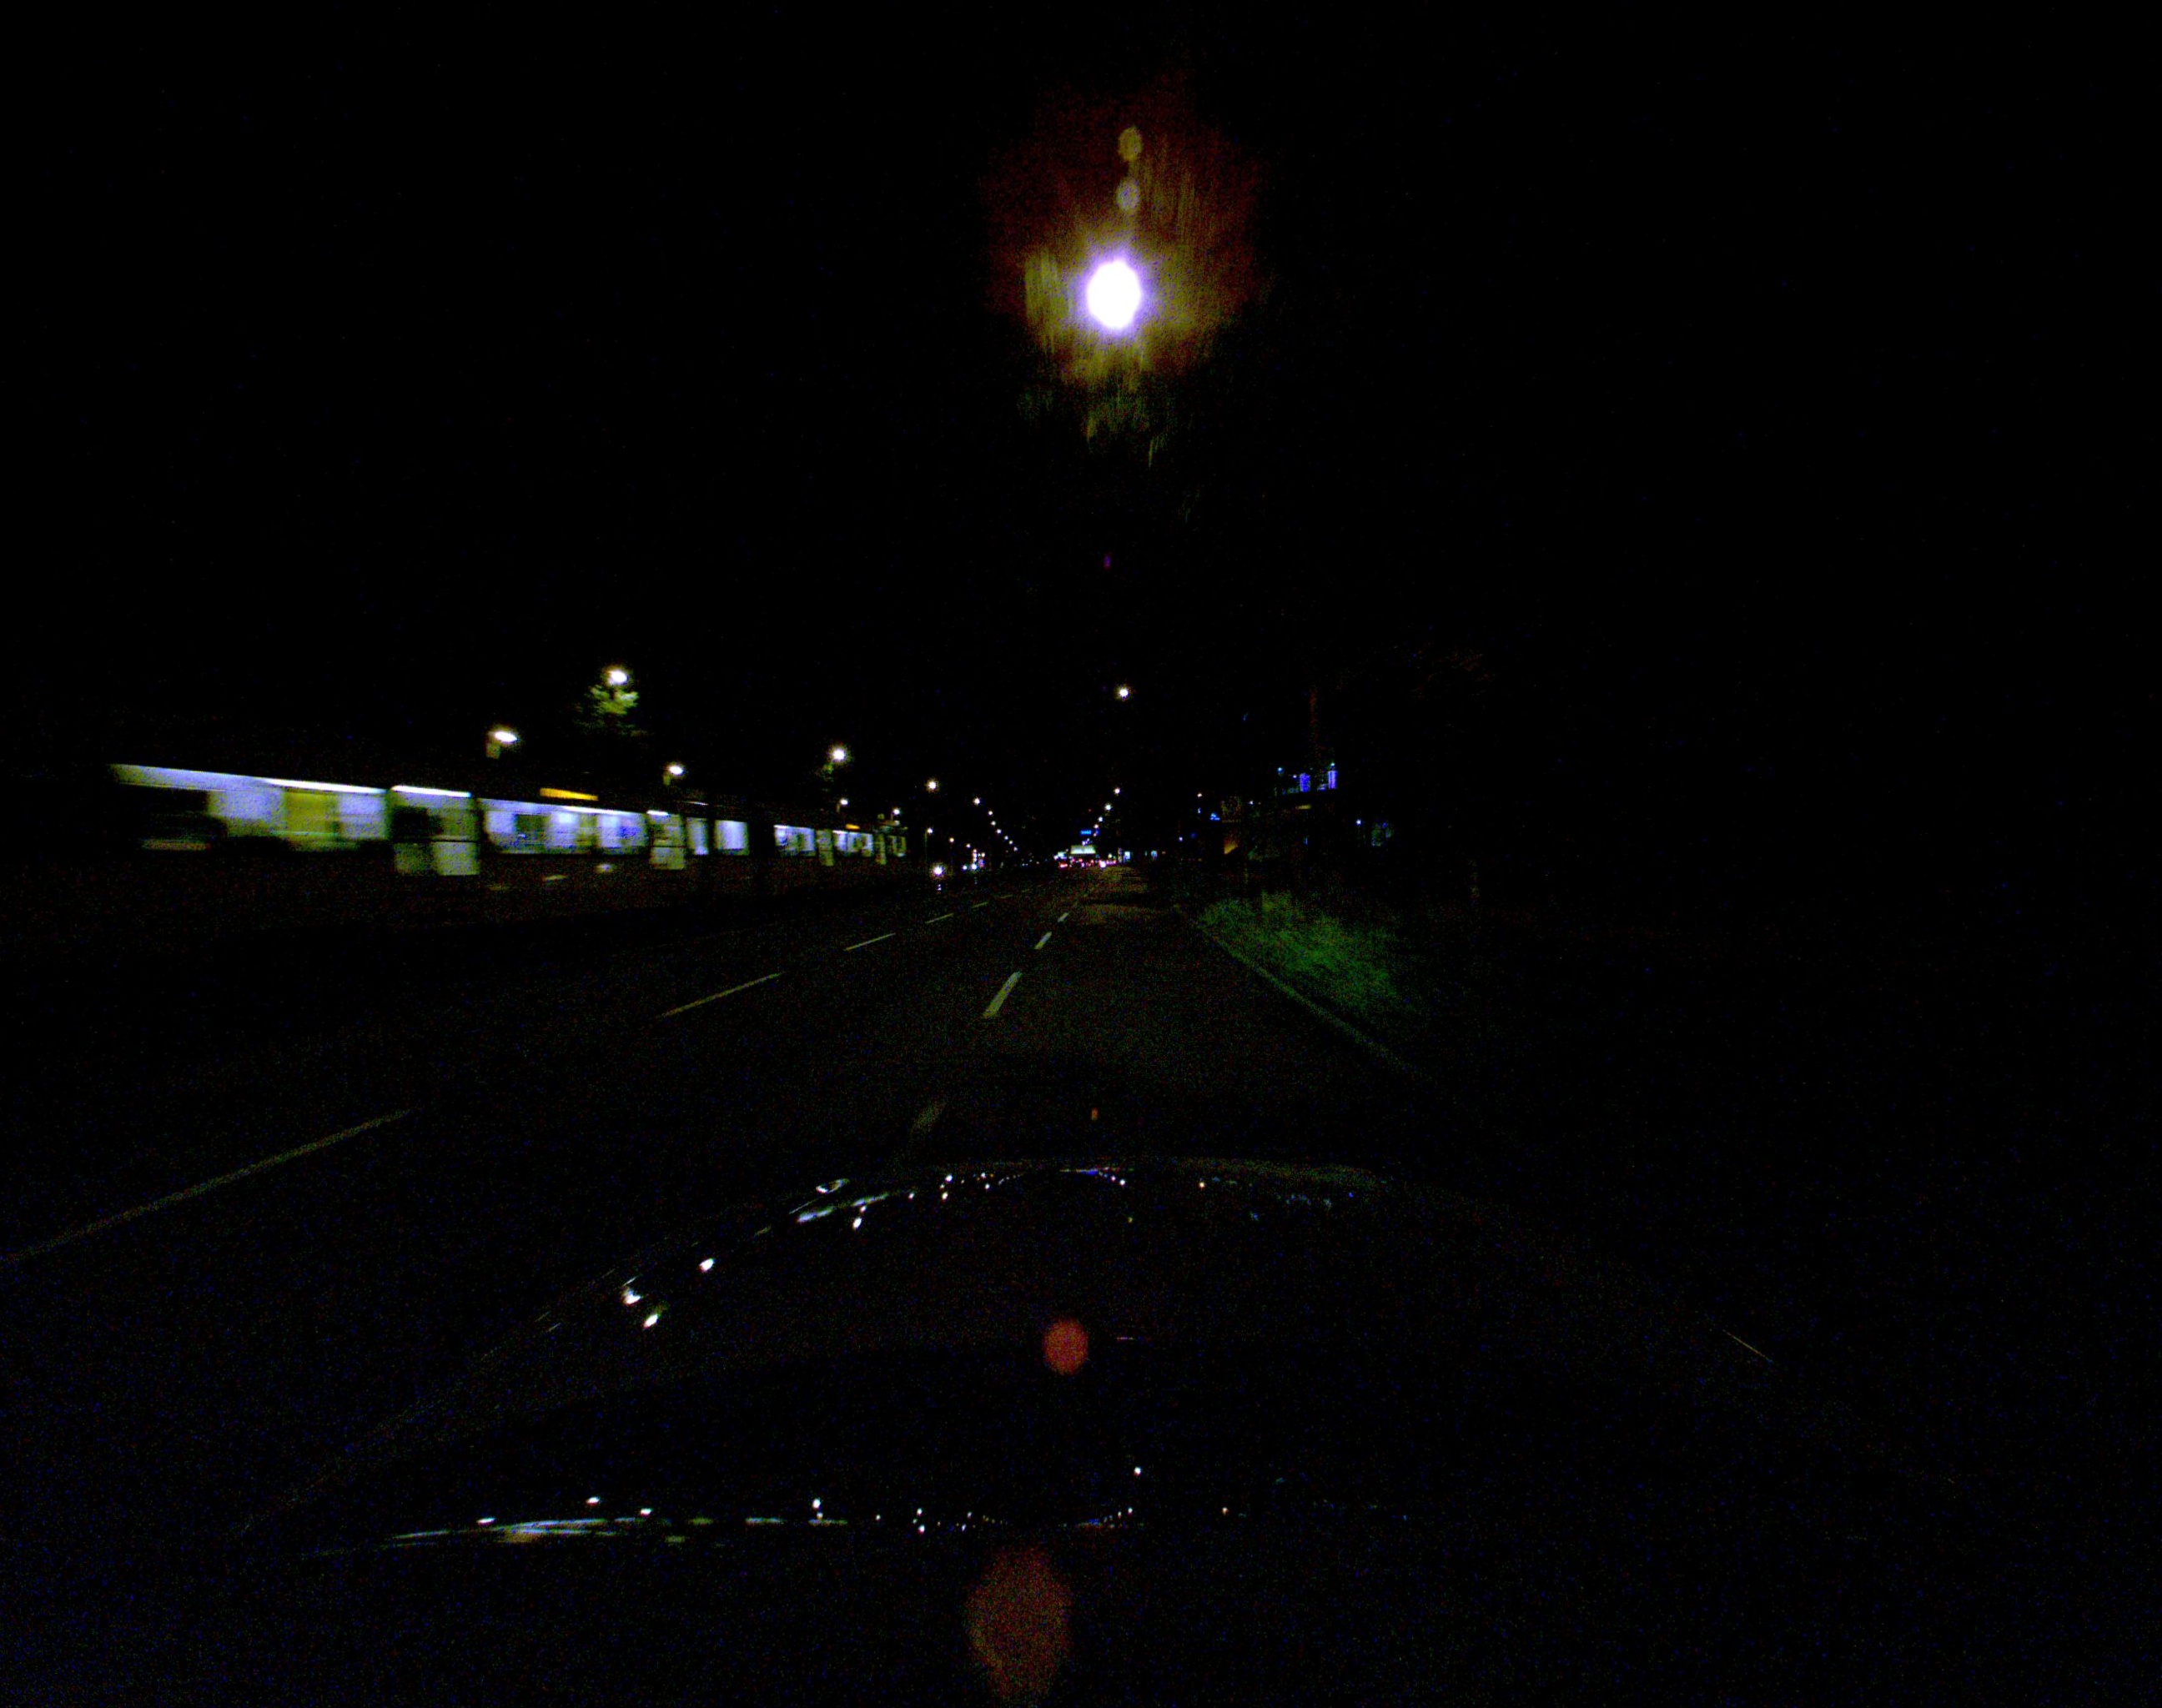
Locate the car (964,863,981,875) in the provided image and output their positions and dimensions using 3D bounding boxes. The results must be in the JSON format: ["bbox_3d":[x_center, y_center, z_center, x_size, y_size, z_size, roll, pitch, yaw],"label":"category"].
[{"bbox_3d":[-15.465,2.136,116.425,1.653,1.516,3.914,-1,-1,4],"label":"car"}]

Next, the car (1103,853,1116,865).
[{"bbox_3d":[5.318,0.925,153.288,2.418,2.113,4.827,-1,-1,2],"label":"car"}]

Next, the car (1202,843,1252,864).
[{"bbox_3d":[14.871,-0.008,83.101,4.460,1.687,1.994,-6,0,-9],"label":"car"}]

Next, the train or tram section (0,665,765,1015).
[{"bbox_3d":[-12.634,-0.083,17.748,2.726,3.846,19.382,-1,0,4],"label":"train or tram section"}]

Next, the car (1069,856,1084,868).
[{"bbox_3d":[-0.729,1.371,137.802,2.254,2.014,4.827,-1,-1,2],"label":"car"}]

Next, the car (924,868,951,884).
[{"bbox_3d":[-14.407,2.220,81.902,1.778,1.497,4.175,-1,-2,2],"label":"car"}]

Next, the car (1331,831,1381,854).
[{"bbox_3d":[23.194,-0.967,68.851,1.800,1.577,3.940,-7,1,-20],"label":"car"}]

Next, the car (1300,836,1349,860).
[{"bbox_3d":[19.835,-0.464,66.508,1.811,1.712,3.940,-2,-1,-20],"label":"car"}]

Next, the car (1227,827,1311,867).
[{"bbox_3d":[15.108,-0.545,65.422,6.028,2.529,2.272,-7,1,-15],"label":"car"}]

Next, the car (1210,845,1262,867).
[{"bbox_3d":[14.286,0.212,75.276,4.201,1.663,1.955,-4,0,-9],"label":"car"}]

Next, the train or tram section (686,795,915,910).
[{"bbox_3d":[-11.393,0.003,36.810,2.747,3.827,18.687,-1,0,3],"label":"train or tram section"}]

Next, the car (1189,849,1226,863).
[{"bbox_3d":[15.535,0.282,99.874,4.029,1.373,1.817,-5,0,-14],"label":"car"}]

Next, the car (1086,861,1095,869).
[{"bbox_3d":[2.195,2.488,183.411,1.880,1.860,4.001,-1,-1,2],"label":"car"}]

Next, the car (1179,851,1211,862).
[{"bbox_3d":[15.891,0.336,113.446,3.995,1.424,1.899,-2,0,-16],"label":"car"}]

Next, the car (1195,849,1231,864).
[{"bbox_3d":[15.326,0.265,94.651,3.805,1.453,1.710,-4,0,-12],"label":"car"}]

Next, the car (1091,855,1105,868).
[{"bbox_3d":[2.909,1.271,140.778,2.347,2.129,4.827,-1,-1,2],"label":"car"}]

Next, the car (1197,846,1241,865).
[{"bbox_3d":[14.618,0.126,86.156,4.079,1.568,1.849,-6,0,-9],"label":"car"}]
